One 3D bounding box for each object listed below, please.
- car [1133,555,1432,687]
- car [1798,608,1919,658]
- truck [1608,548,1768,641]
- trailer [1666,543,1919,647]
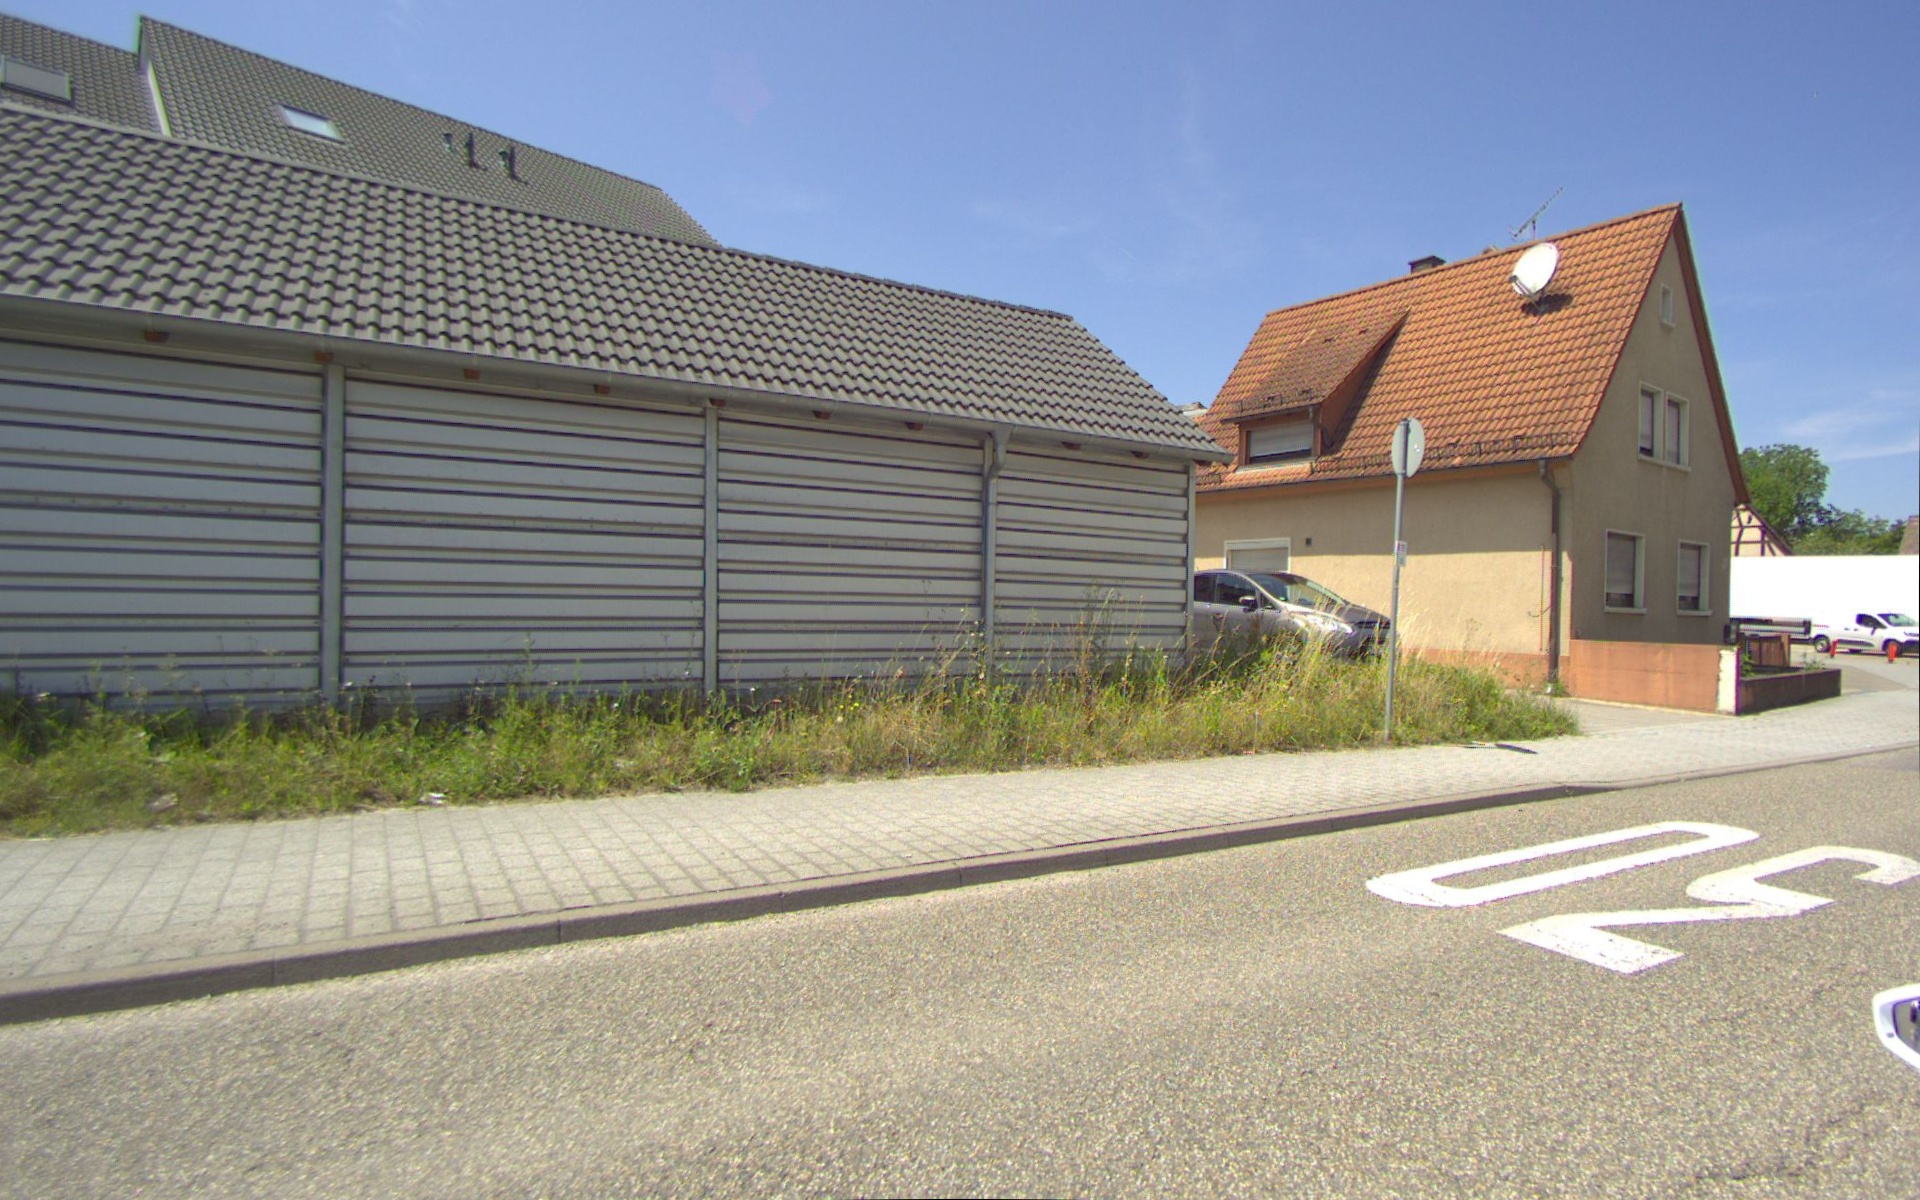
[{"bbox_3d":[4.587,0.296,14.922,1.843,1.660,4.107,1,-1,-29],"label":"car"},{"bbox_3d":[36.679,1.268,40.366,1.845,1.809,4.514,0,1,-9],"label":"car"},{"bbox_3d":[37.601,-0.294,52.106,3.069,4.459,5.905,2,0,-21],"label":"truck"},{"bbox_3d":[39.897,-0.182,46.295,3.095,4.334,12.435,2,0,-20],"label":"trailer"}]
